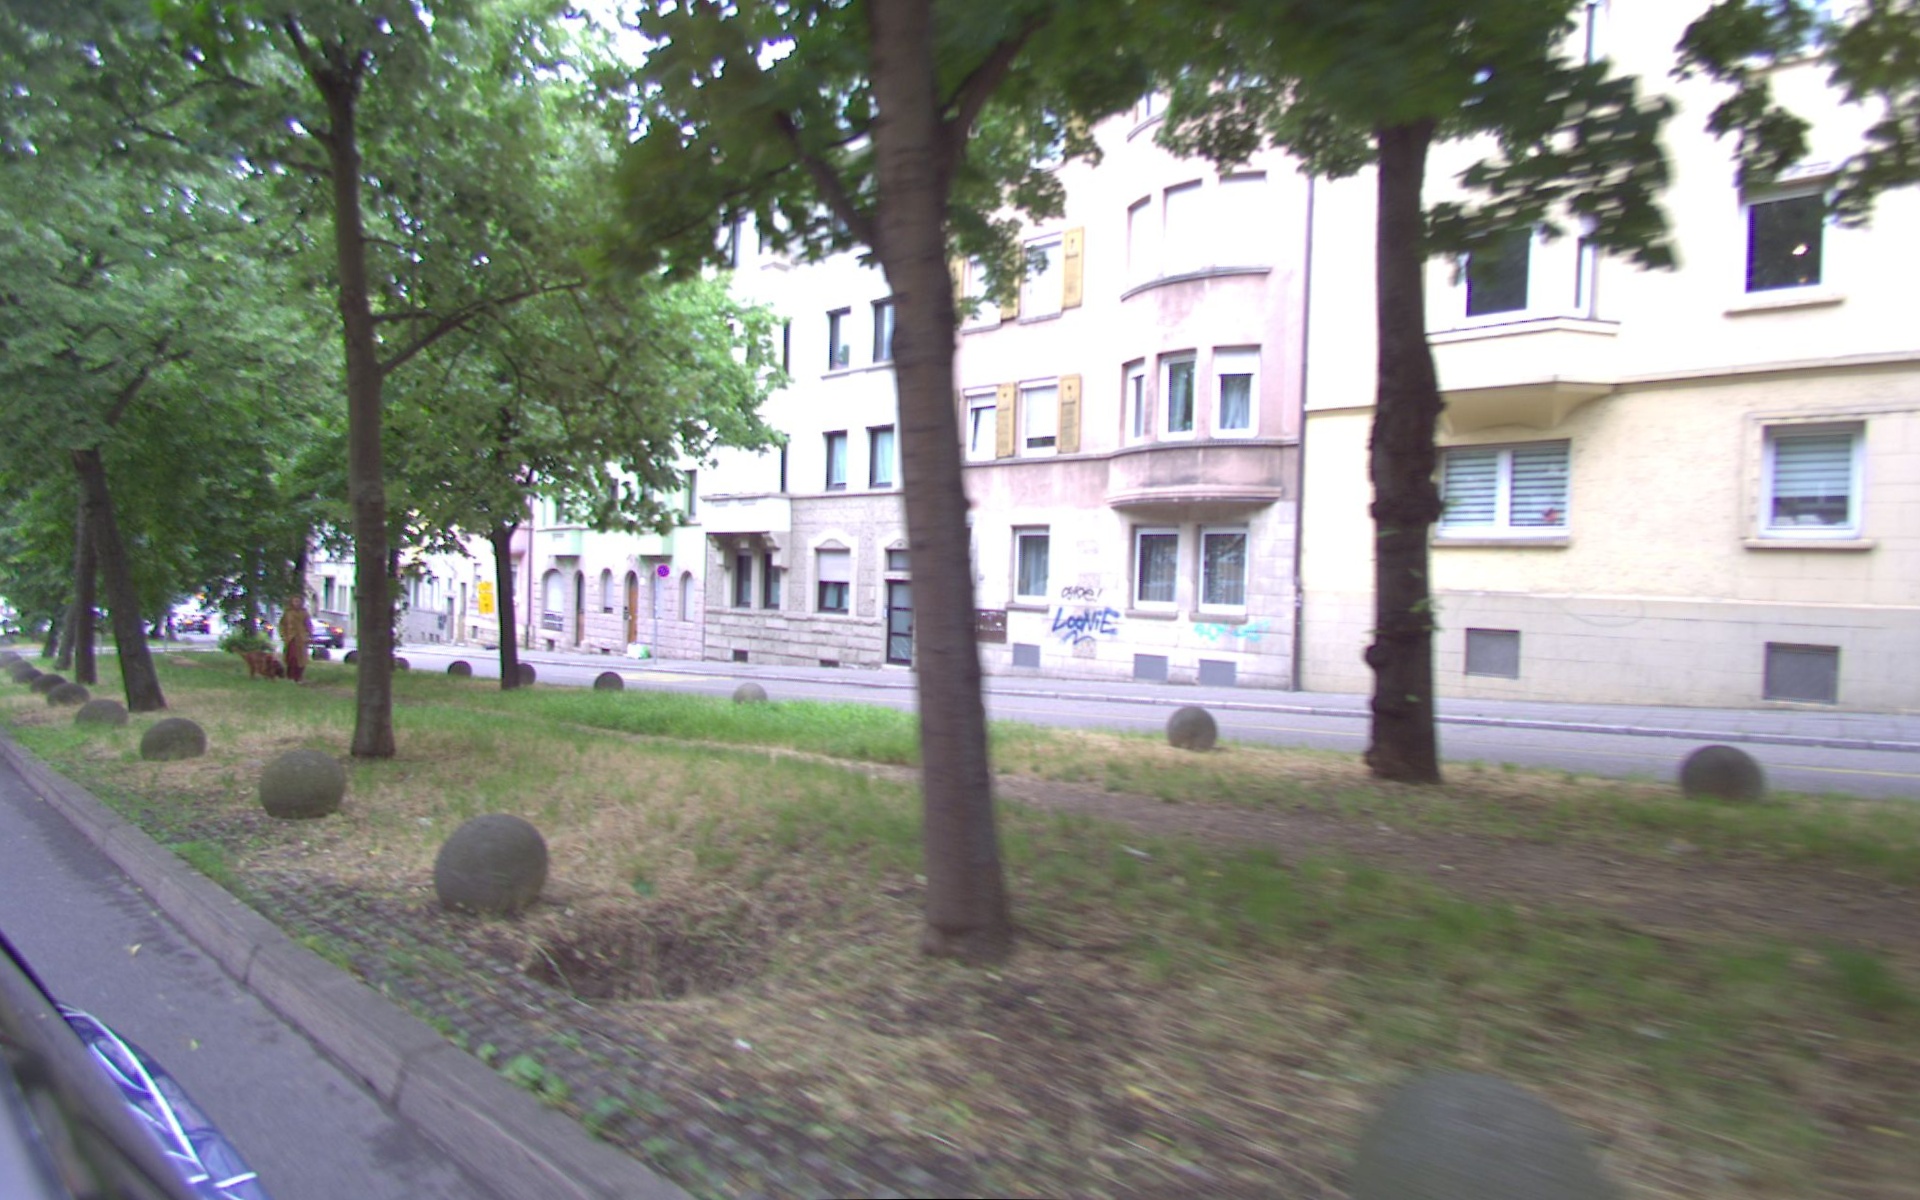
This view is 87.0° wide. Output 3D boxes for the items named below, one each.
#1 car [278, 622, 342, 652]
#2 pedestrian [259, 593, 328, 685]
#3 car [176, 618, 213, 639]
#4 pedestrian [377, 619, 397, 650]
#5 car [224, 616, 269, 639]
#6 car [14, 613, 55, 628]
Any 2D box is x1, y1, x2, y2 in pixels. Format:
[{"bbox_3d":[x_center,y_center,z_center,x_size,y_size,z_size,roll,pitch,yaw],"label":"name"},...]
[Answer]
[{"bbox_3d":[-31.150,1.783,48.431,1.737,1.393,4.672,2,-4,-43],"label":"car"},{"bbox_3d":[-13.057,0.760,19.827,0.823,1.725,1.124,5,-3,-44],"label":"pedestrian"},{"bbox_3d":[-64.698,2.408,85.518,4.682,1.649,1.795,0,-2,45],"label":"car"},{"bbox_3d":[-27.766,1.671,49.012,0.690,1.471,0.704,0,-1,-43],"label":"pedestrian"},{"bbox_3d":[-45.887,1.794,65.048,1.688,1.393,4.672,2,-4,-43],"label":"car"},{"bbox_3d":[-112.185,2.490,122.711,2.174,1.583,4.492,0,1,-22],"label":"car"}]
